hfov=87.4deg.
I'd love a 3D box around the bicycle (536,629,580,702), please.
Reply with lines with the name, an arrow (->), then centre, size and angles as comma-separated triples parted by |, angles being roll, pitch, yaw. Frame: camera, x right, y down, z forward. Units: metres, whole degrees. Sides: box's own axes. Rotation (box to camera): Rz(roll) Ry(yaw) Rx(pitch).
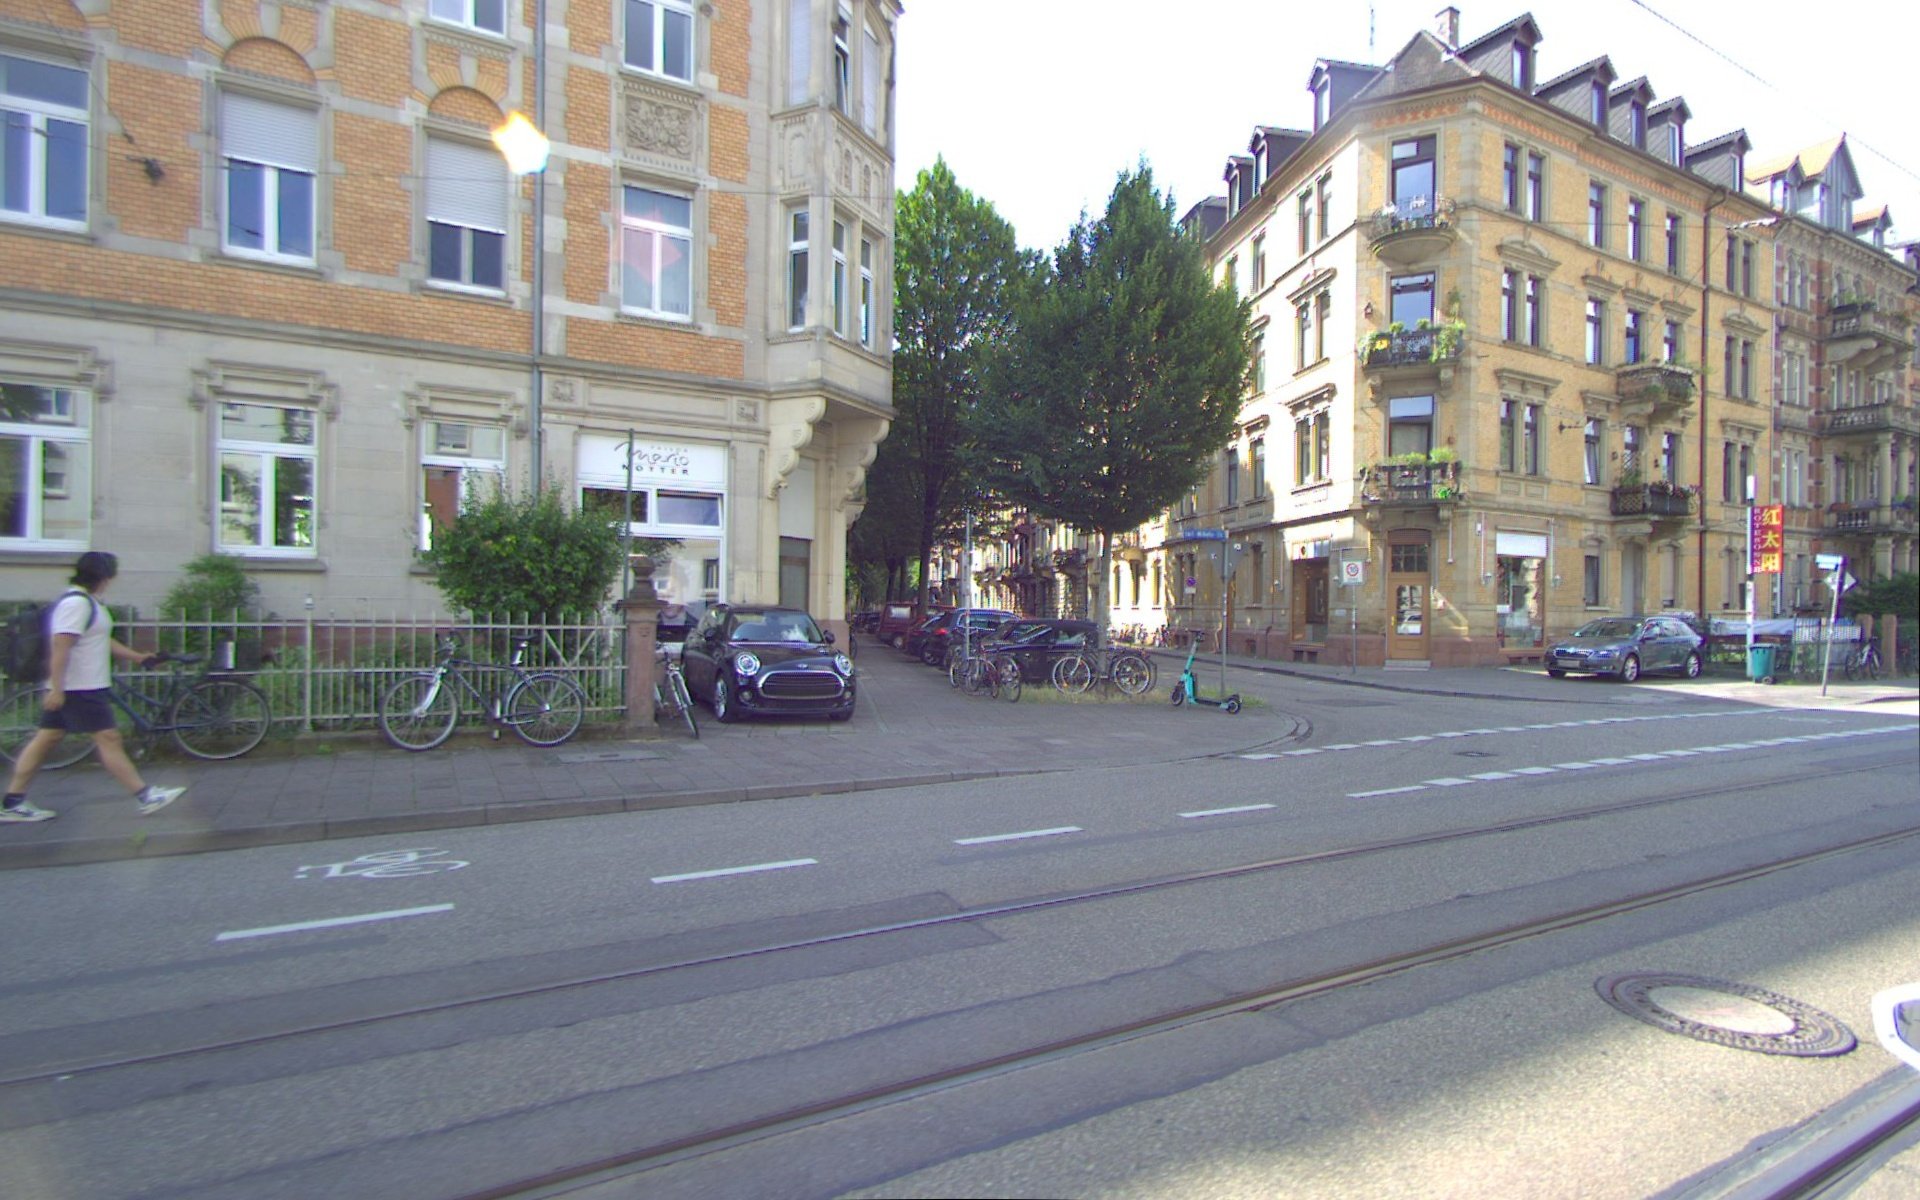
bicycle -> -5.893, 0.932, 14.699 | 0.399, 0.989, 1.446 | 0, -1, -29

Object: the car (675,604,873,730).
car -> -2.617, 0.778, 13.491 | 1.763, 1.422, 3.592 | 1, 0, -25

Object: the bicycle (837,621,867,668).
bicycle -> -2.932, 1.177, 27.164 | 0.614, 1.225, 2.176 | 0, -1, -12

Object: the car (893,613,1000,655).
car -> -0.542, 1.286, 38.279 | 3.926, 1.517, 1.618 | 0, -1, -8

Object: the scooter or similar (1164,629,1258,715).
scooter or similar -> 3.912, 1.103, 15.699 | 1.342, 1.251, 0.403 | 1, 0, 32

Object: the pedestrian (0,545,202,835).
pedestrian -> -5.701, 0.552, 6.586 | 1.093, 1.784, 0.530 | 1, 2, -31

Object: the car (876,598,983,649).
car -> -1.342, 1.011, 42.845 | 4.429, 2.092, 1.895 | 0, -1, -8

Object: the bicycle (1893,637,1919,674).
bicycle -> 26.298, 1.514, 27.537 | 1.945, 0.959, 0.527 | 1, -1, -31

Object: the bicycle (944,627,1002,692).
bicycle -> 0.212, 1.055, 18.194 | 0.516, 1.078, 1.691 | 0, 0, -19

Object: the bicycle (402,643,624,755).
bicycle -> -4.293, 0.923, 9.724 | 1.927, 0.989, 0.419 | 1, -1, -31

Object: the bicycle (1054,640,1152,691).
bicycle -> 2.543, 1.153, 17.831 | 1.670, 0.849, 0.523 | 0, 0, -17

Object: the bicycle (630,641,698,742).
bicycle -> -3.264, 0.966, 11.015 | 0.399, 0.989, 1.446 | 0, -1, -29

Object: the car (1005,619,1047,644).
car -> 3.914, 1.859, 60.401 | 1.731, 1.442, 3.995 | 0, -1, -8

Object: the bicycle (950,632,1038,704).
bicycle -> 0.528, 1.074, 16.365 | 0.519, 1.078, 1.742 | 0, 0, -35

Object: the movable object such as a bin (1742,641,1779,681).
movable object such as a bin -> 19.022, 1.453, 23.872 | 0.629, 0.918, 0.522 | 1, -1, -31

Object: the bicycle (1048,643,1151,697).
bicycle -> 2.376, 1.175, 17.112 | 1.670, 0.849, 0.523 | 0, 0, -17

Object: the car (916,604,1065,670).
car -> 0.798, 1.009, 27.924 | 3.926, 1.744, 1.618 | 1, -1, -8

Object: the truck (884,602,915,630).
truck -> -7.510, 1.901, 122.725 | 2.474, 3.189, 10.447 | -2, -1, -10

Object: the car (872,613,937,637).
car -> -3.469, 1.542, 62.322 | 3.926, 1.442, 1.618 | 0, -1, -8

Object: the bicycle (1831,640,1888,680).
bicycle -> 22.822, 1.504, 25.482 | 1.945, 0.959, 0.527 | 1, -1, -31

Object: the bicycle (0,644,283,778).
bicycle -> -6.715, 0.867, 8.200 | 1.927, 0.989, 0.419 | 1, -1, -31

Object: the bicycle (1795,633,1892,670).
bicycle -> 24.175, 1.395, 27.524 | 0.526, 0.959, 1.949 | 1, -1, -34

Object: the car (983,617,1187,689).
car -> 2.528, 1.050, 20.639 | 3.857, 1.378, 1.641 | 0, -1, -11

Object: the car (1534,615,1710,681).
car -> 16.120, 1.117, 24.409 | 4.708, 1.478, 1.677 | 1, -1, -30

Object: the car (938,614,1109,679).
car -> 1.415, 1.038, 23.189 | 3.717, 1.434, 1.643 | 0, -1, -7
